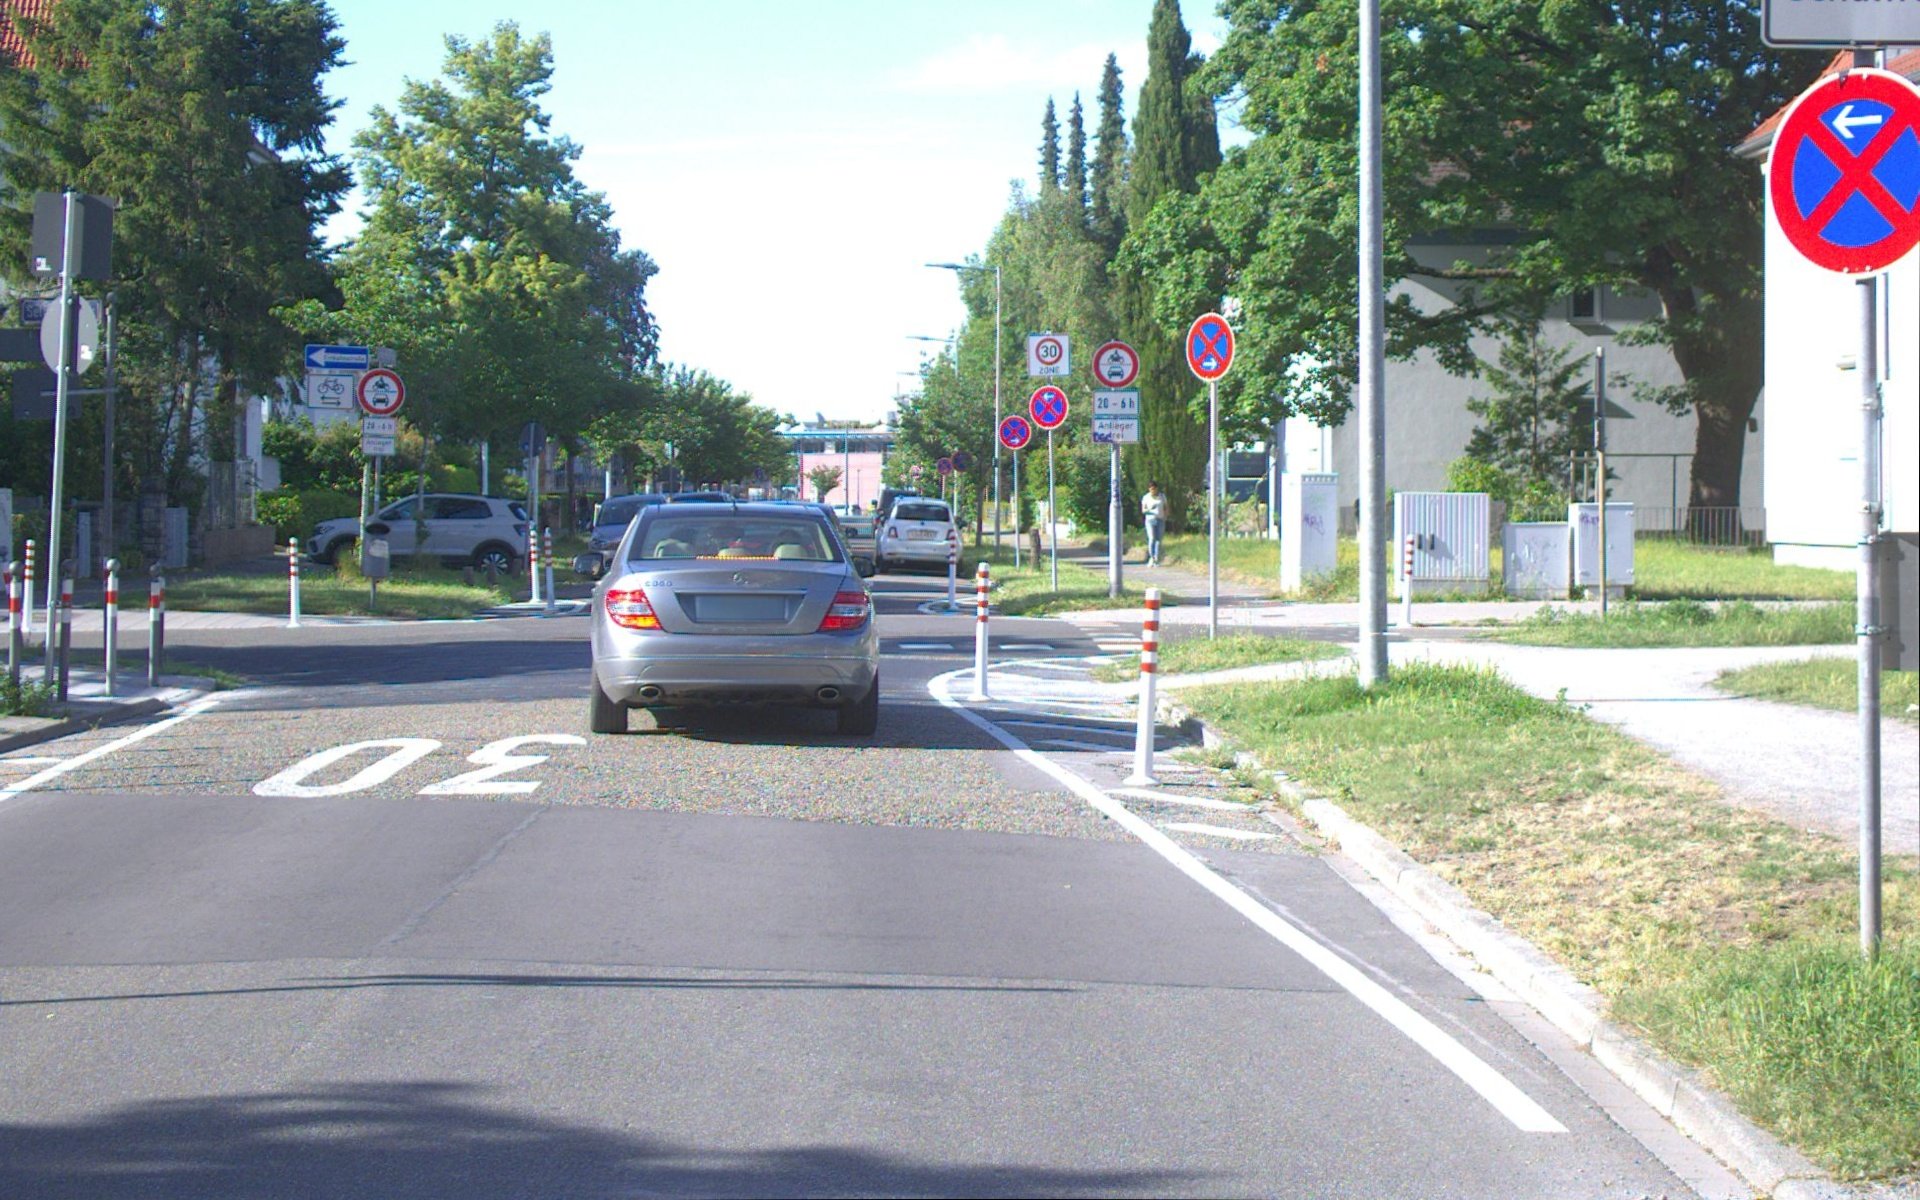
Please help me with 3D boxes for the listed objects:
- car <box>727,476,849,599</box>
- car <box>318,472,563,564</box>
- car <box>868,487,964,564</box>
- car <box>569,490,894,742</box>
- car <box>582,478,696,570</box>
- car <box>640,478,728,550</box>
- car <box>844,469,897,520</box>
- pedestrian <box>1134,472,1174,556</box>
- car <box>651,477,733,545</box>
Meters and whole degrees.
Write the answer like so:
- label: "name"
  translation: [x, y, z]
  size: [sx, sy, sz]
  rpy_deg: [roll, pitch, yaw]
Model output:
- label: "car"
  translation: [-2.375, -0.883, 46.980]
  size: [1.597, 1.604, 3.645]
  rpy_deg: [0, 2, -4]
- label: "car"
  translation: [-9.231, -1.471, 61.303]
  size: [4.191, 1.558, 1.842]
  rpy_deg: [1, 2, -4]
- label: "car"
  translation: [-0.916, -1.510, 68.934]
  size: [1.733, 1.474, 3.726]
  rpy_deg: [0, 2, -4]
- label: "car"
  translation: [-1.364, 0.030, 21.941]
  size: [1.836, 1.436, 4.001]
  rpy_deg: [1, 2, -1]
- label: "car"
  translation: [-6.179, -1.493, 66.514]
  size: [1.993, 1.604, 4.001]
  rpy_deg: [-4, 2, -3]
- label: "car"
  translation: [-6.735, -2.142, 84.308]
  size: [1.993, 1.604, 4.001]
  rpy_deg: [-4, 2, -3]
- label: "car"
  translation: [-3.272, -3.842, 124.763]
  size: [1.854, 1.834, 4.001]
  rpy_deg: [0, 2, -2]
- label: "pedestrian"
  translation: [3.754, -1.663, 66.436]
  size: [0.766, 1.605, 0.834]
  rpy_deg: [0, 2, 3]
- label: "car"
  translation: [-6.981, -2.345, 89.942]
  size: [1.993, 1.604, 4.001]
  rpy_deg: [-4, 2, -3]
